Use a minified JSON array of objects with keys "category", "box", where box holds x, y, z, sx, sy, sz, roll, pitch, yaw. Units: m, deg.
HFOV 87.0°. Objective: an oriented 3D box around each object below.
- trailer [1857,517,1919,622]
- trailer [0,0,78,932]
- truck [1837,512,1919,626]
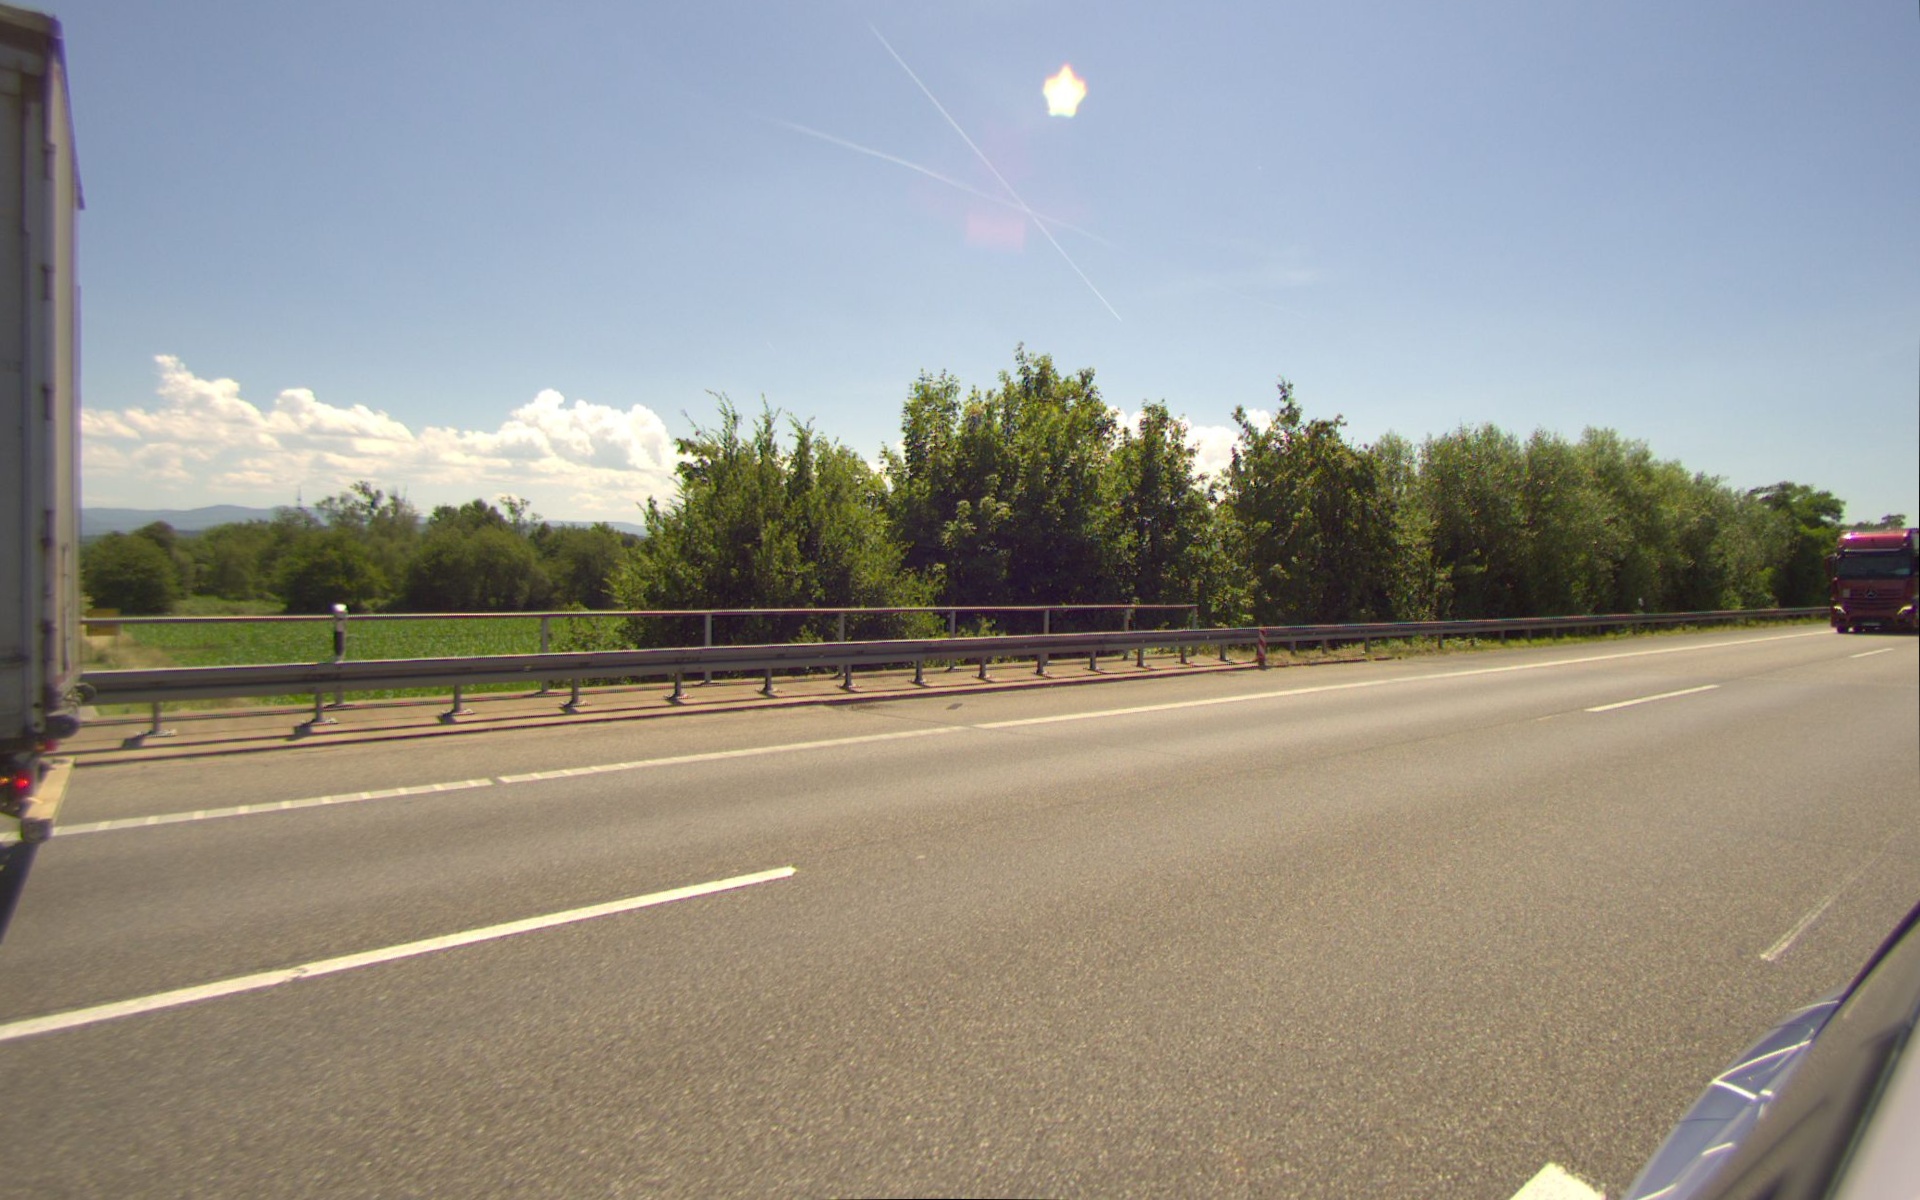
[{"category":"trailer","box":[42.557,-1.322,44.651,12.085,4.170,2.800,-1,0,-41]},{"category":"trailer","box":[-9.753,-0.597,1.200,13.006,4.170,2.705,-1,0,-40]},{"category":"truck","box":[37.447,-1.211,40.236,7.634,4.170,2.800,-1,0,-41]}]
